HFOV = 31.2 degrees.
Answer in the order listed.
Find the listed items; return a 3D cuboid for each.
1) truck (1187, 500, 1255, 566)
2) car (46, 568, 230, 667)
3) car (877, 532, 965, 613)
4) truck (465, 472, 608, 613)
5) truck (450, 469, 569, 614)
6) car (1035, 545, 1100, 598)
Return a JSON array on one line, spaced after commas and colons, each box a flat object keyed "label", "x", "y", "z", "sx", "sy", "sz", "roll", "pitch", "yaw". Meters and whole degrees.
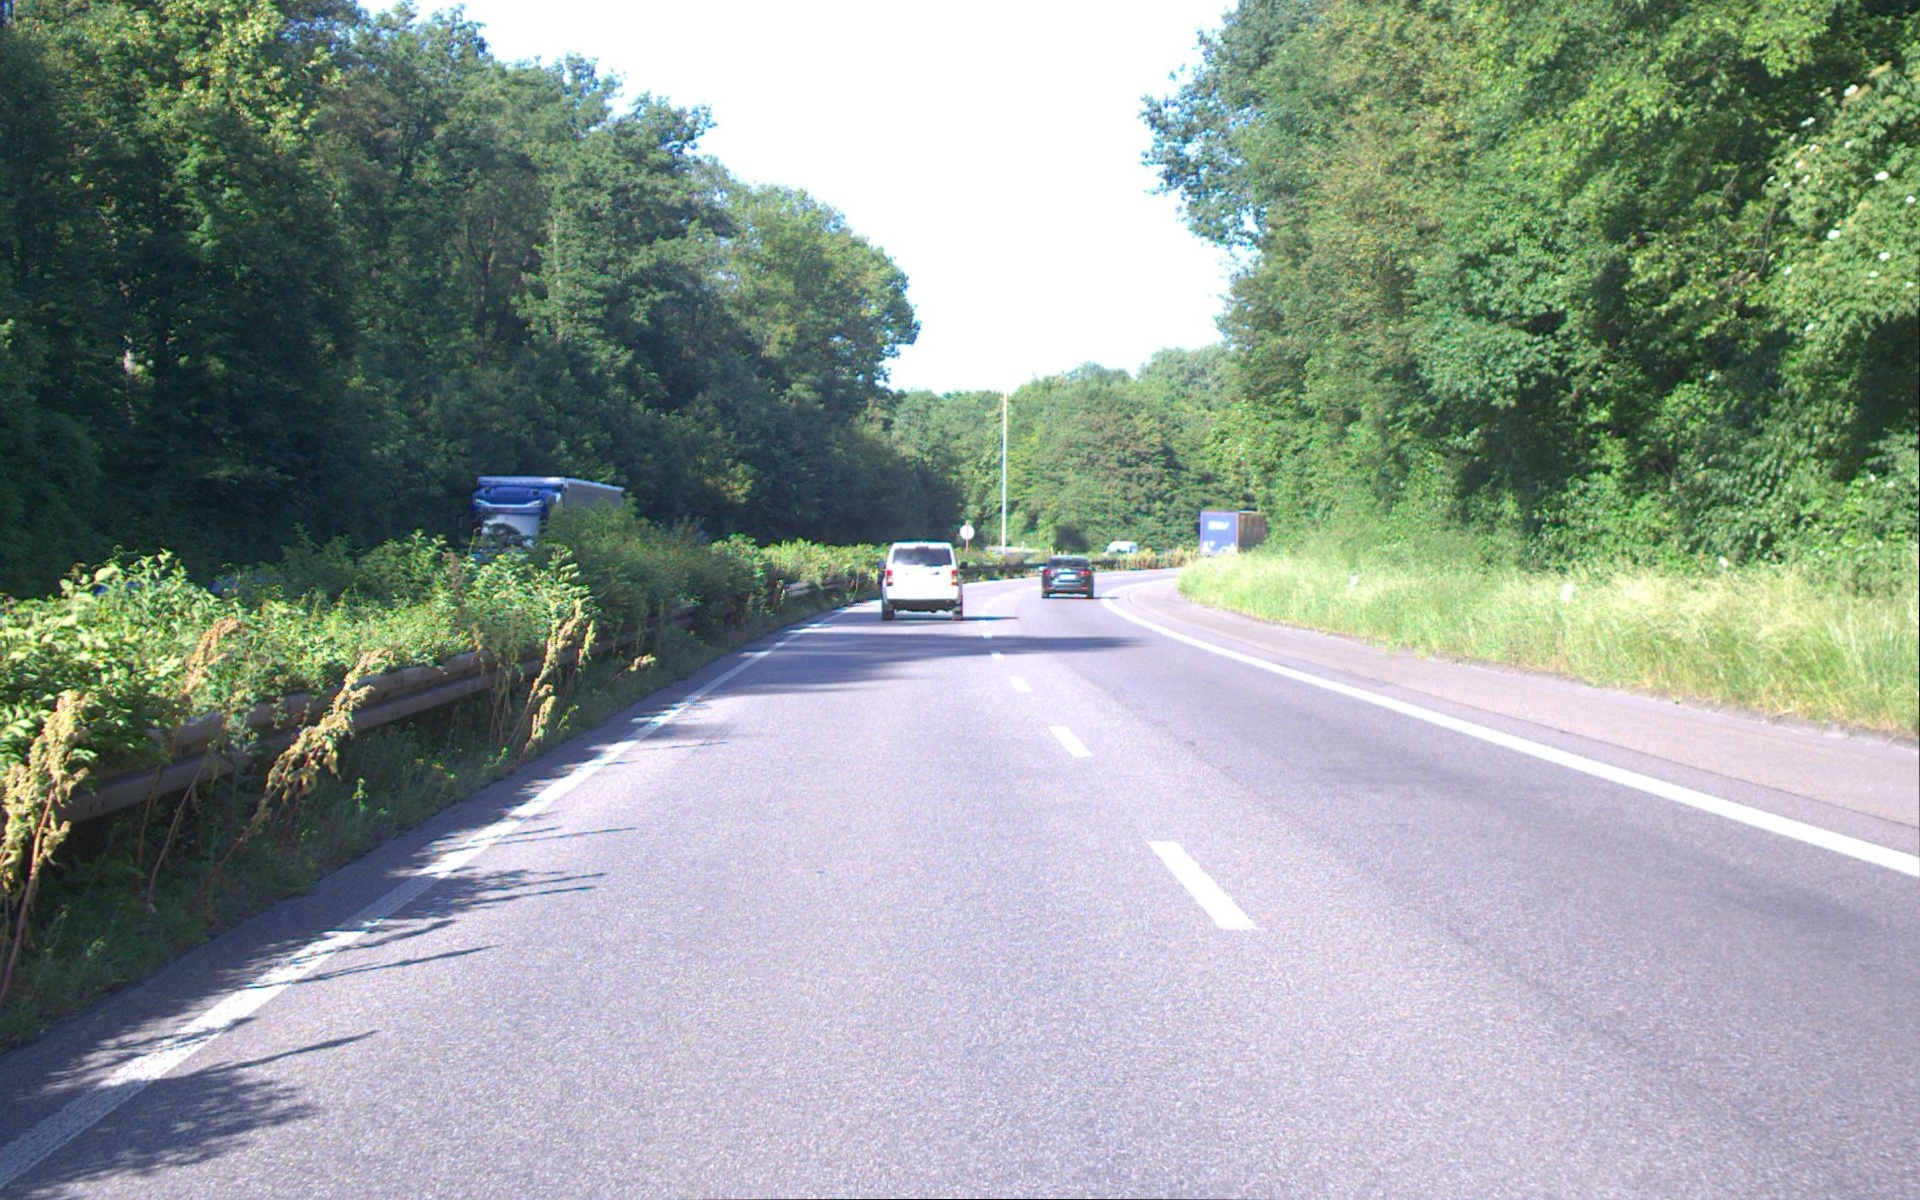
[{"label": "truck", "x": 17.580, "y": -4.463, "z": 231.098, "sx": 3.736, "sy": 4.328, "sz": 9.300, "roll": 1, "pitch": 0, "yaw": 9}, {"label": "car", "x": -12.612, "y": 0.243, "z": 52.999, "sx": 1.800, "sy": 1.437, "sz": 4.436, "roll": 1, "pitch": 0, "yaw": -1}, {"label": "car", "x": -0.924, "y": -0.628, "z": 79.161, "sx": 1.951, "sy": 1.776, "sz": 4.588, "roll": 1, "pitch": 0, "yaw": -1}, {"label": "truck", "x": -13.033, "y": -1.723, "z": 106.940, "sx": 2.707, "sy": 4.082, "sz": 14.022, "roll": 1, "pitch": 0, "yaw": 0}, {"label": "truck", "x": -13.026, "y": -1.669, "z": 99.802, "sx": 2.716, "sy": 4.082, "sz": 5.437, "roll": 1, "pitch": 0, "yaw": 0}, {"label": "car", "x": 3.680, "y": -0.989, "z": 118.150, "sx": 1.951, "sy": 1.776, "sz": 4.588, "roll": 1, "pitch": 0, "yaw": -1}]
